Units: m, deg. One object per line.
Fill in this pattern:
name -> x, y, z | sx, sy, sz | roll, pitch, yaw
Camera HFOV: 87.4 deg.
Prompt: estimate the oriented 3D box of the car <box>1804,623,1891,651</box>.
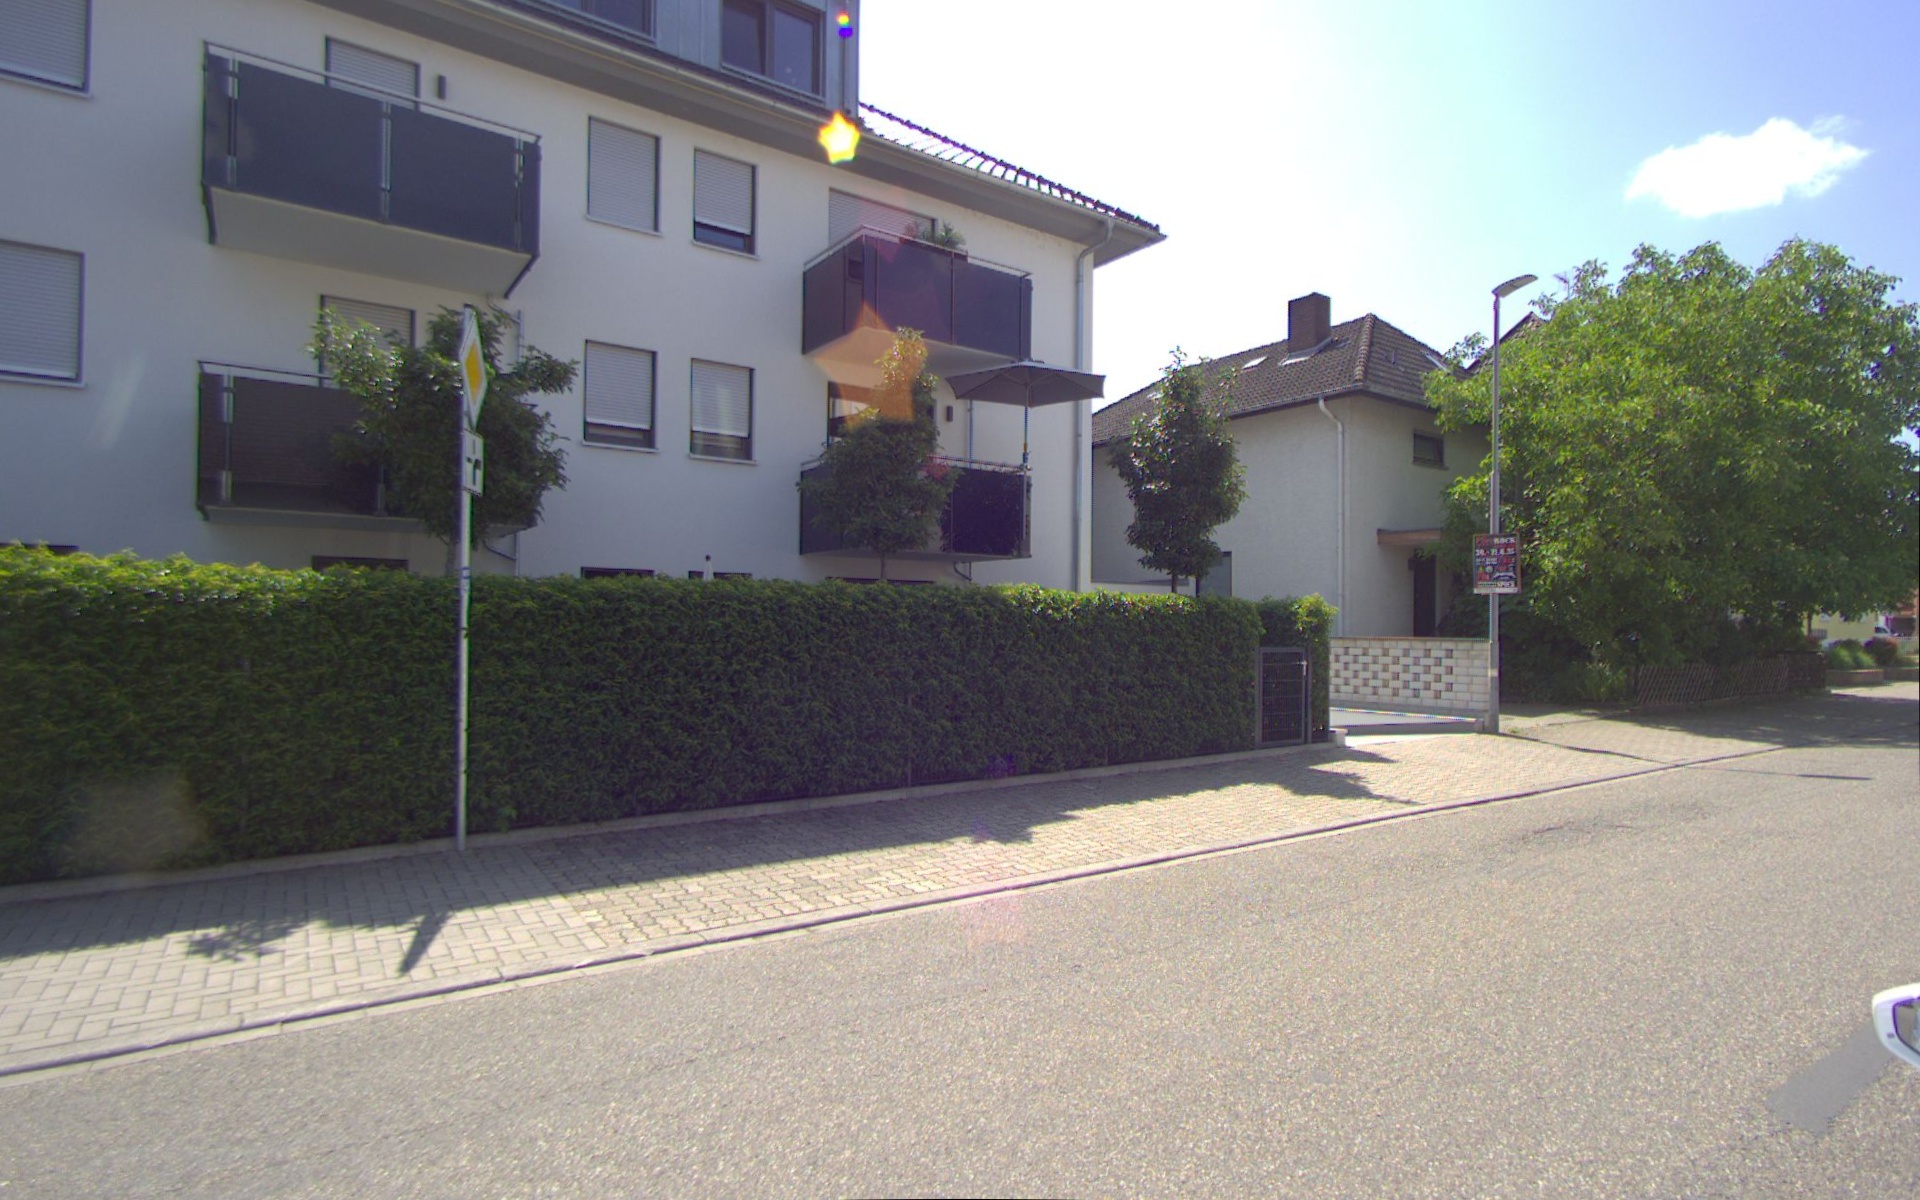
car -> 58.575, 2.433, 66.309 | 4.174, 1.508, 1.747 | 3, 2, -2
